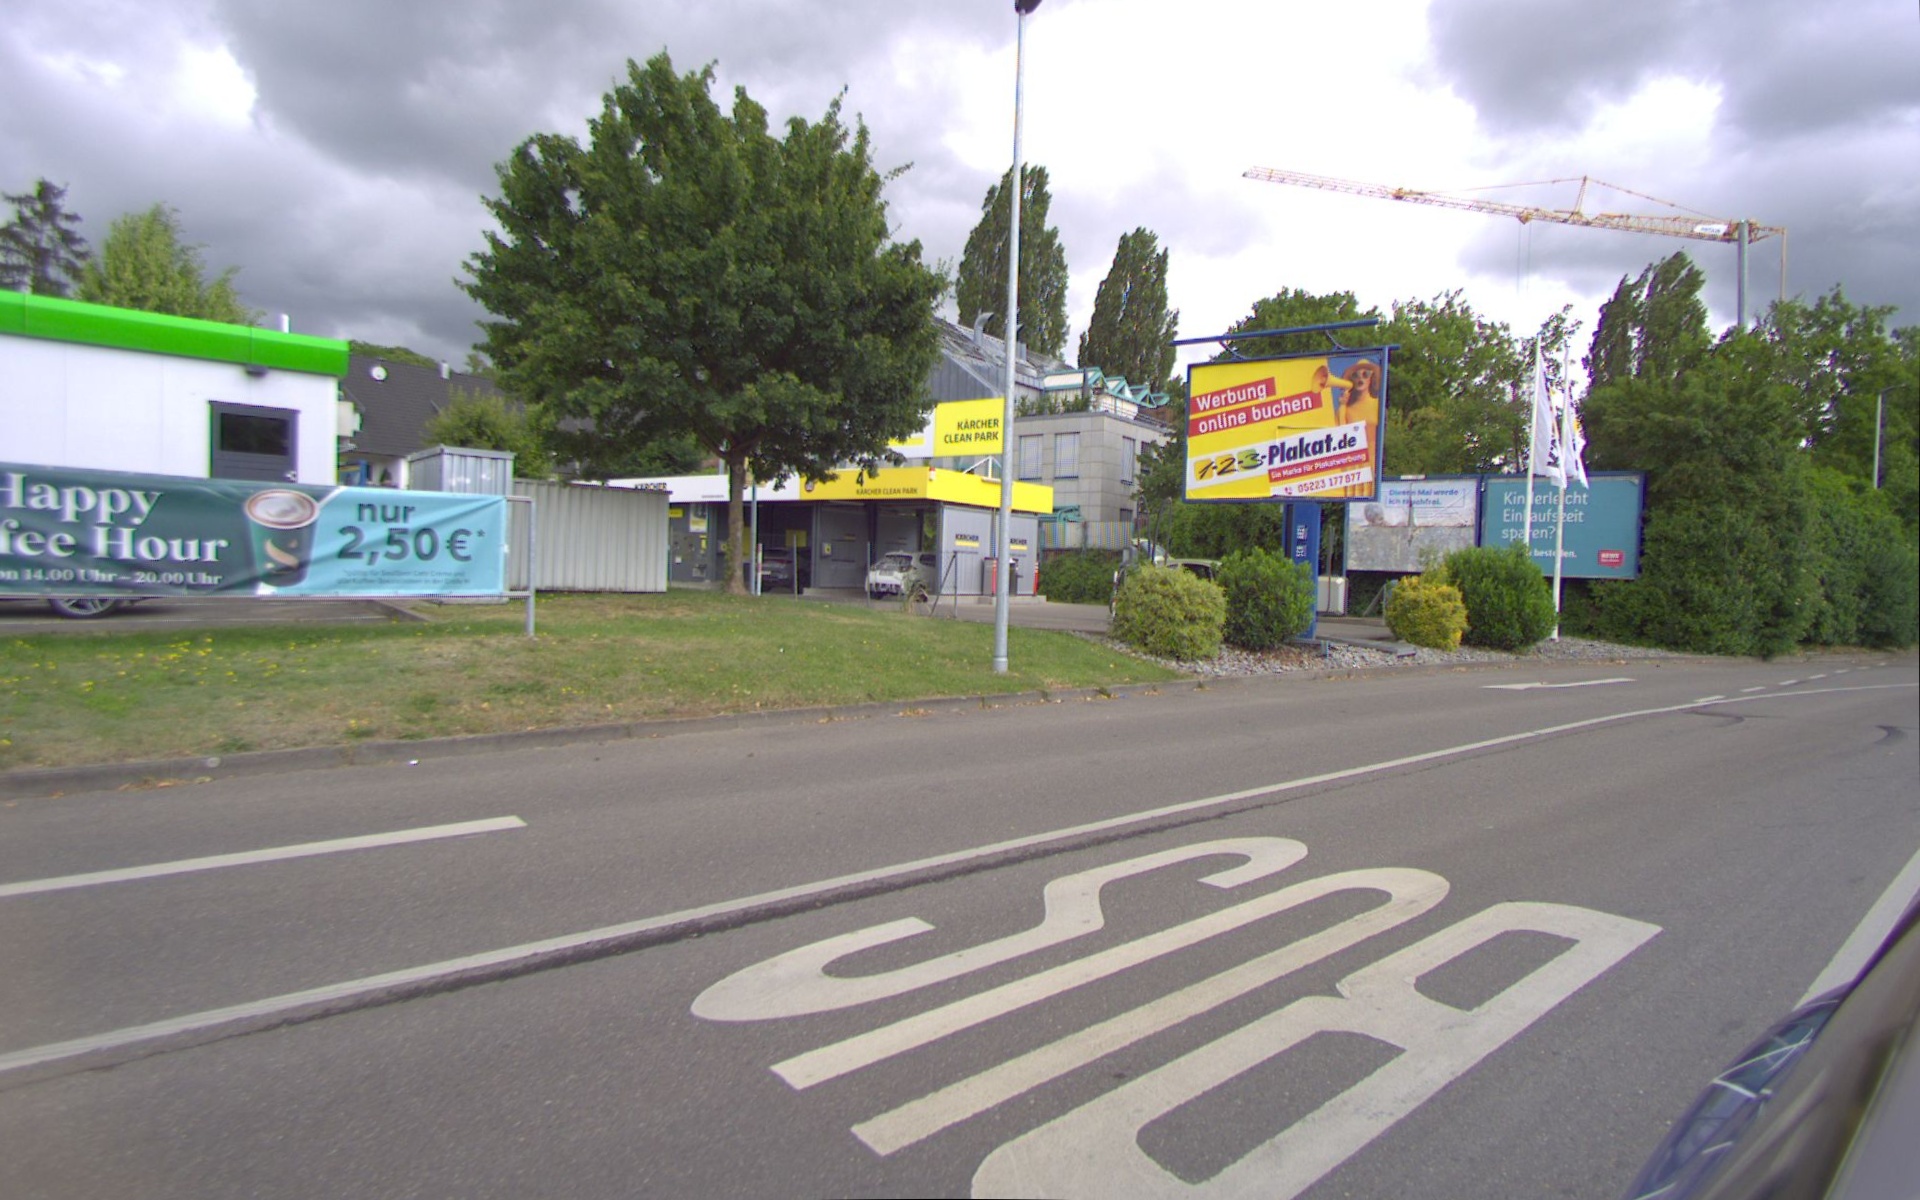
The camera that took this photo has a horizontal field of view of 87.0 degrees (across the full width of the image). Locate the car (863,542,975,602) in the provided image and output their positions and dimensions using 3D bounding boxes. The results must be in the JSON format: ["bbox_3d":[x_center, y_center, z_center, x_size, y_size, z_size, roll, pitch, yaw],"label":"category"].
[{"bbox_3d":[-1.174,-0.844,30.320,1.620,1.660,3.490,3,2,32],"label":"car"}]

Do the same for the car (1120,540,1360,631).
[{"bbox_3d":[5.933,-0.353,21.579,4.017,1.676,2.900,4,3,43],"label":"car"}]

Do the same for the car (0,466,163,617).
[{"bbox_3d":[-11.870,-0.712,11.587,4.262,1.694,1.825,-1,4,-41],"label":"car"}]

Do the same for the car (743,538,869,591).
[{"bbox_3d":[-4.940,-1.115,32.886,1.828,1.593,3.880,3,2,36],"label":"car"}]
